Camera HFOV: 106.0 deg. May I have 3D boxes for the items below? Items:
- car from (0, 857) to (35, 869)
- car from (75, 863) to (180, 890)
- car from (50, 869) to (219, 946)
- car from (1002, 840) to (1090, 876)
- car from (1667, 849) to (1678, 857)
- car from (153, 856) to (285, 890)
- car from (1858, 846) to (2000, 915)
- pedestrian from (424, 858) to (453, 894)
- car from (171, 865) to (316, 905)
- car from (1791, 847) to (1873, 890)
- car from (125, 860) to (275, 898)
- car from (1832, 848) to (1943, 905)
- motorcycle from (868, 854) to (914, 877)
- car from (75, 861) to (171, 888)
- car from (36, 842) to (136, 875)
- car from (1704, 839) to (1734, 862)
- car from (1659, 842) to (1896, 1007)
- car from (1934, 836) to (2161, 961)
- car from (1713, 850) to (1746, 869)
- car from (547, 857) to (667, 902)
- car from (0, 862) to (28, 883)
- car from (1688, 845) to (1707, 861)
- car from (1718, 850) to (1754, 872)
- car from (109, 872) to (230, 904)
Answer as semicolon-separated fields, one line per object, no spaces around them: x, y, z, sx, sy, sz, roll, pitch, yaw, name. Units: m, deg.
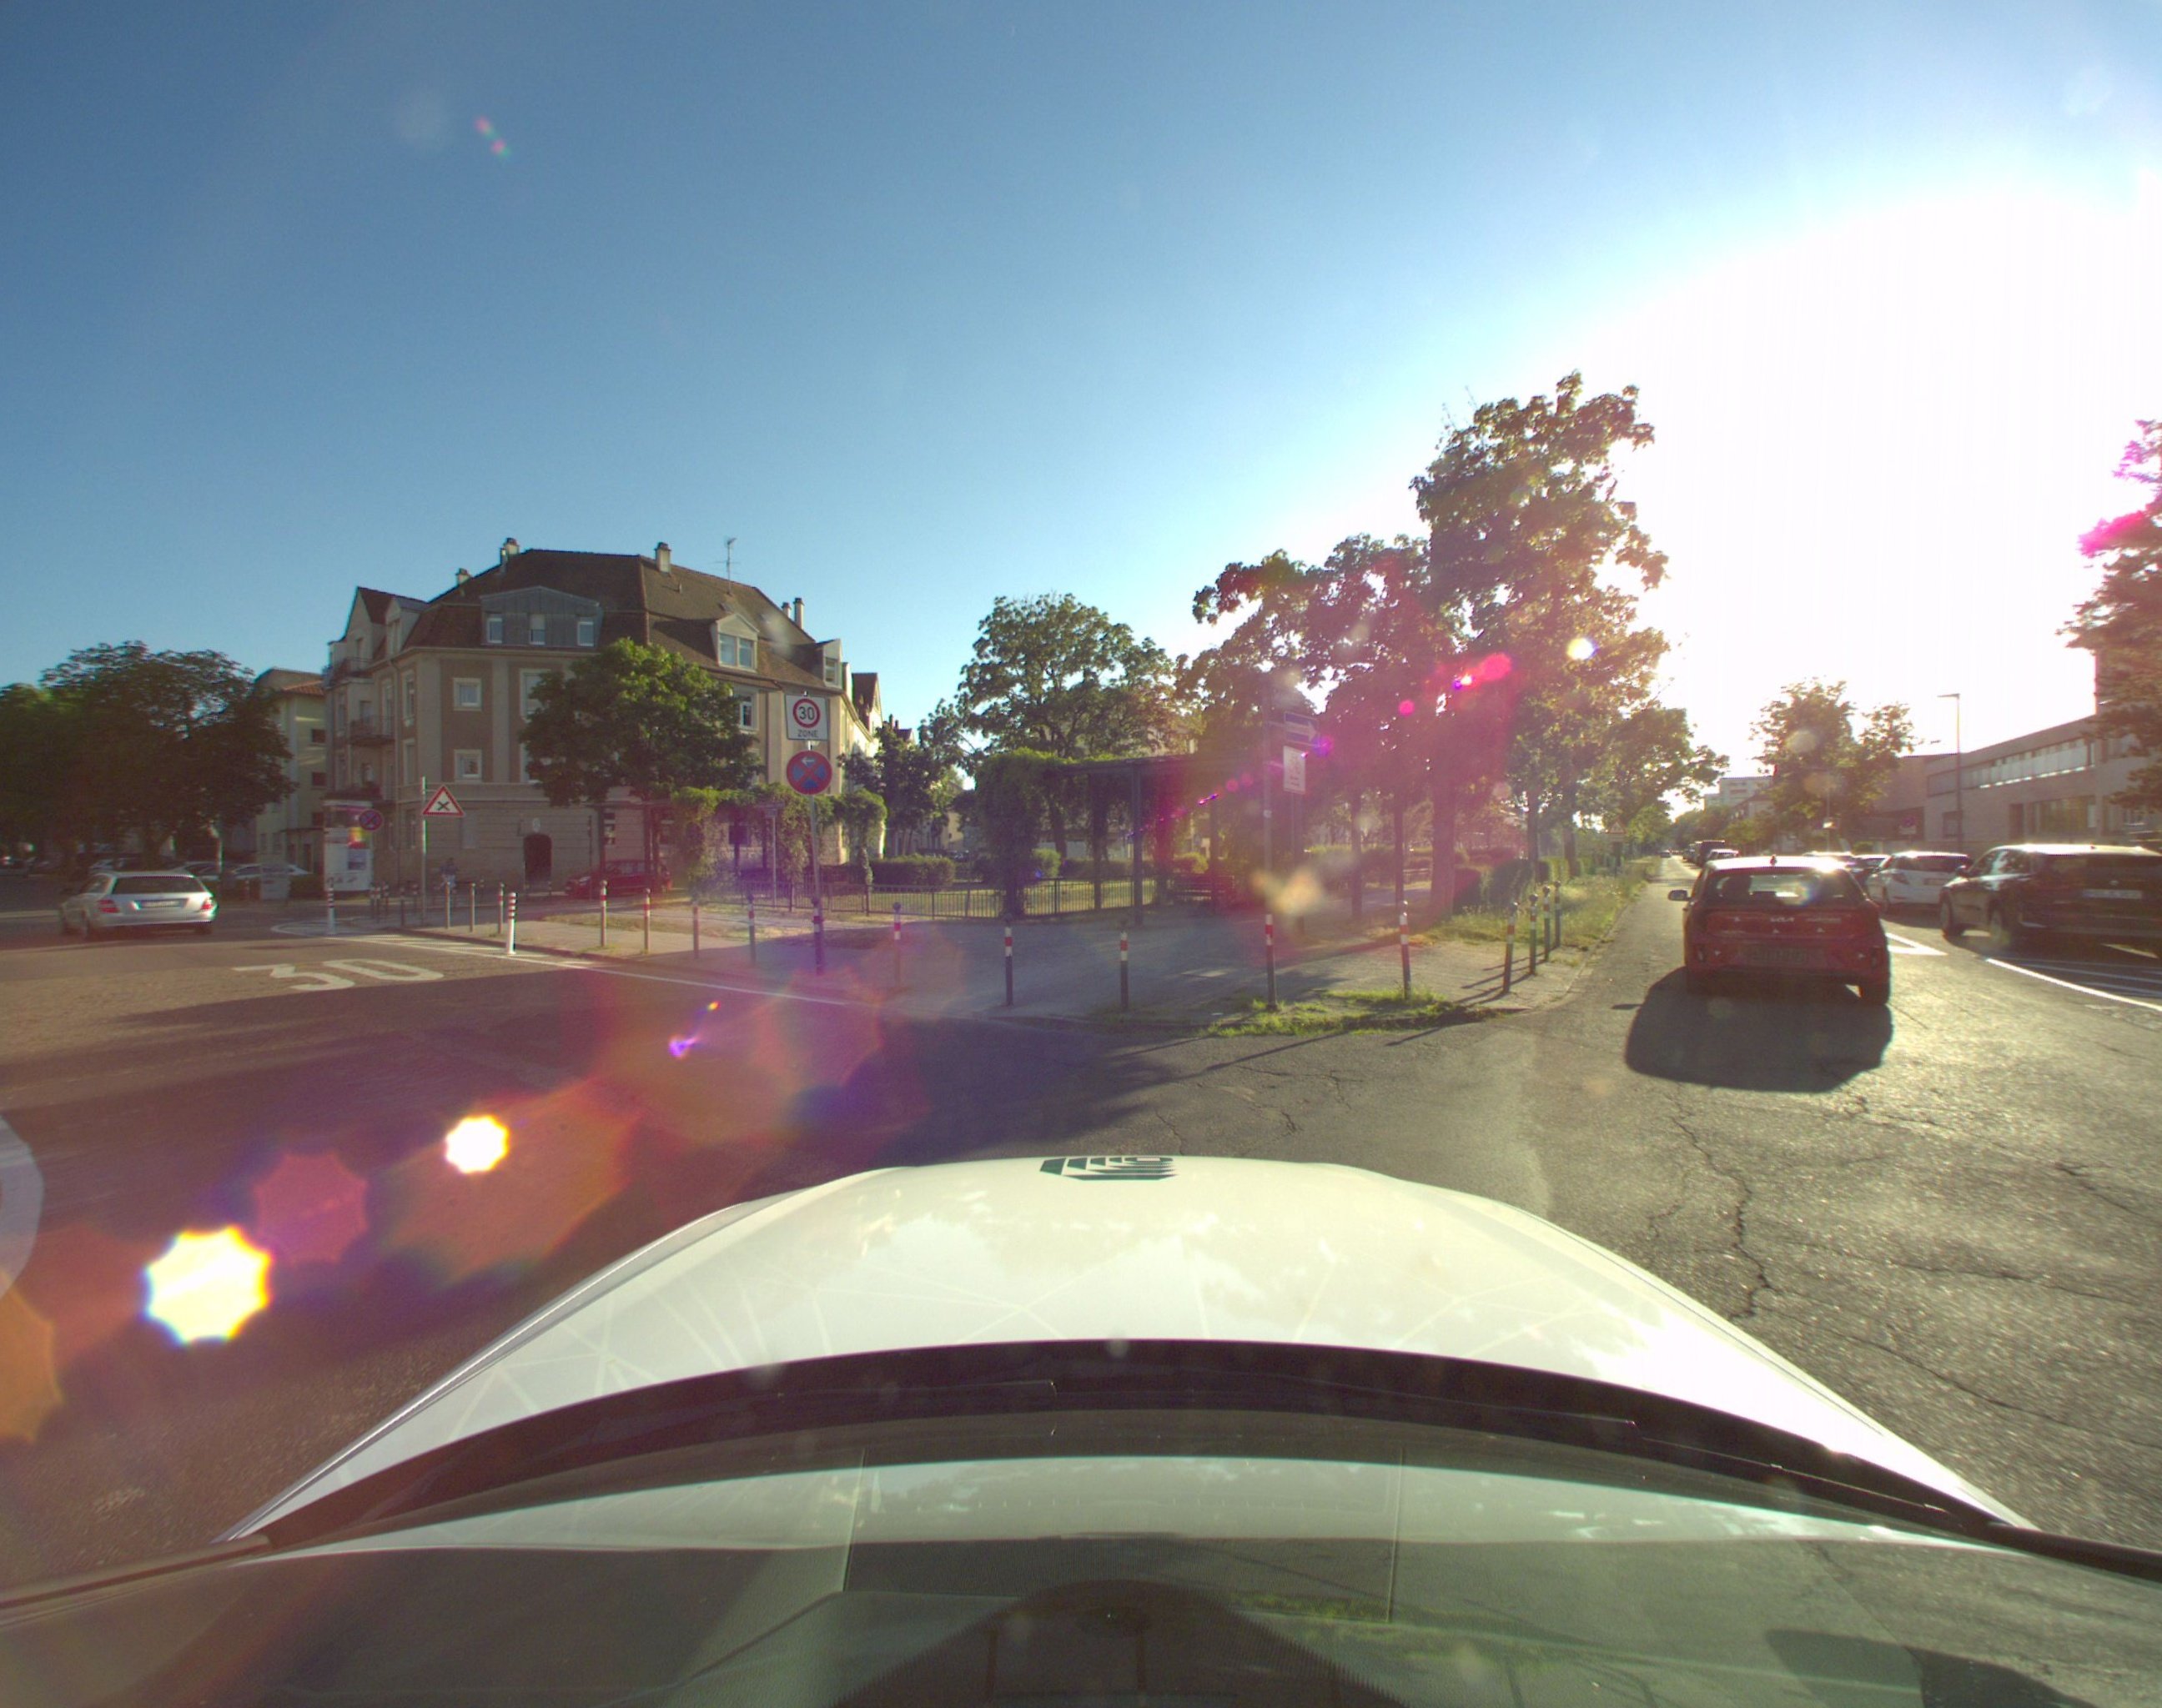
-128.876;1.084;97.863;1.782;1.482;3.881;0;1;36;car
-67.264;1.542;57.526;1.928;1.836;4.670;0;0;35;car
-20.789;1.106;17.853;4.162;1.473;1.834;-1;-1;33;car
-2.741;0.338;64.840;6.632;2.745;2.322;-1;0;6;car
132.880;-0.201;182.916;1.847;1.618;4.025;-1;0;35;car
-45.775;0.979;43.357;1.850;1.640;4.570;-1;0;34;car
20.641;0.601;19.988;1.748;1.526;3.797;-2;-1;36;car
-29.087;0.997;36.866;0.822;1.545;0.737;3;0;-23;pedestrian
-36.072;1.275;35.189;1.838;1.505;4.088;-1;0;34;car
28.955;0.548;31.521;1.748;1.526;3.797;-2;-1;34;car
-42.167;1.134;39.108;1.929;1.525;4.520;1;2;30;car
23.525;0.604;23.896;1.713;1.518;3.784;-1;0;36;car
-12.905;0.780;55.301;3.191;1.487;0.858;-2;-1;24;motorcycle
-61.086;1.283;51.975;1.703;1.558;3.767;-1;0;34;car
-92.302;0.372;75.617;2.440;2.968;5.596;0;0;33;car
58.871;-0.308;75.211;1.974;2.123;4.025;-1;0;36;car
7.969;0.674;9.629;1.748;1.526;3.797;-2;-1;36;car
15.267;0.591;12.849;1.800;1.641;4.243;2;1;37;car
51.156;0.422;64.322;1.713;1.518;3.784;-1;0;33;car
-20.475;1.064;35.341;1.789;1.740;4.114;2;1;37;car
-81.535;1.414;61.887;4.162;1.473;1.834;-1;-1;38;car
80.517;-0.140;106.401;1.974;2.123;4.025;-1;0;36;car
48.723;0.505;60.634;1.740;1.518;3.784;-1;0;33;car
-50.591;1.849;45.278;1.850;1.558;4.231;-1;0;34;car
